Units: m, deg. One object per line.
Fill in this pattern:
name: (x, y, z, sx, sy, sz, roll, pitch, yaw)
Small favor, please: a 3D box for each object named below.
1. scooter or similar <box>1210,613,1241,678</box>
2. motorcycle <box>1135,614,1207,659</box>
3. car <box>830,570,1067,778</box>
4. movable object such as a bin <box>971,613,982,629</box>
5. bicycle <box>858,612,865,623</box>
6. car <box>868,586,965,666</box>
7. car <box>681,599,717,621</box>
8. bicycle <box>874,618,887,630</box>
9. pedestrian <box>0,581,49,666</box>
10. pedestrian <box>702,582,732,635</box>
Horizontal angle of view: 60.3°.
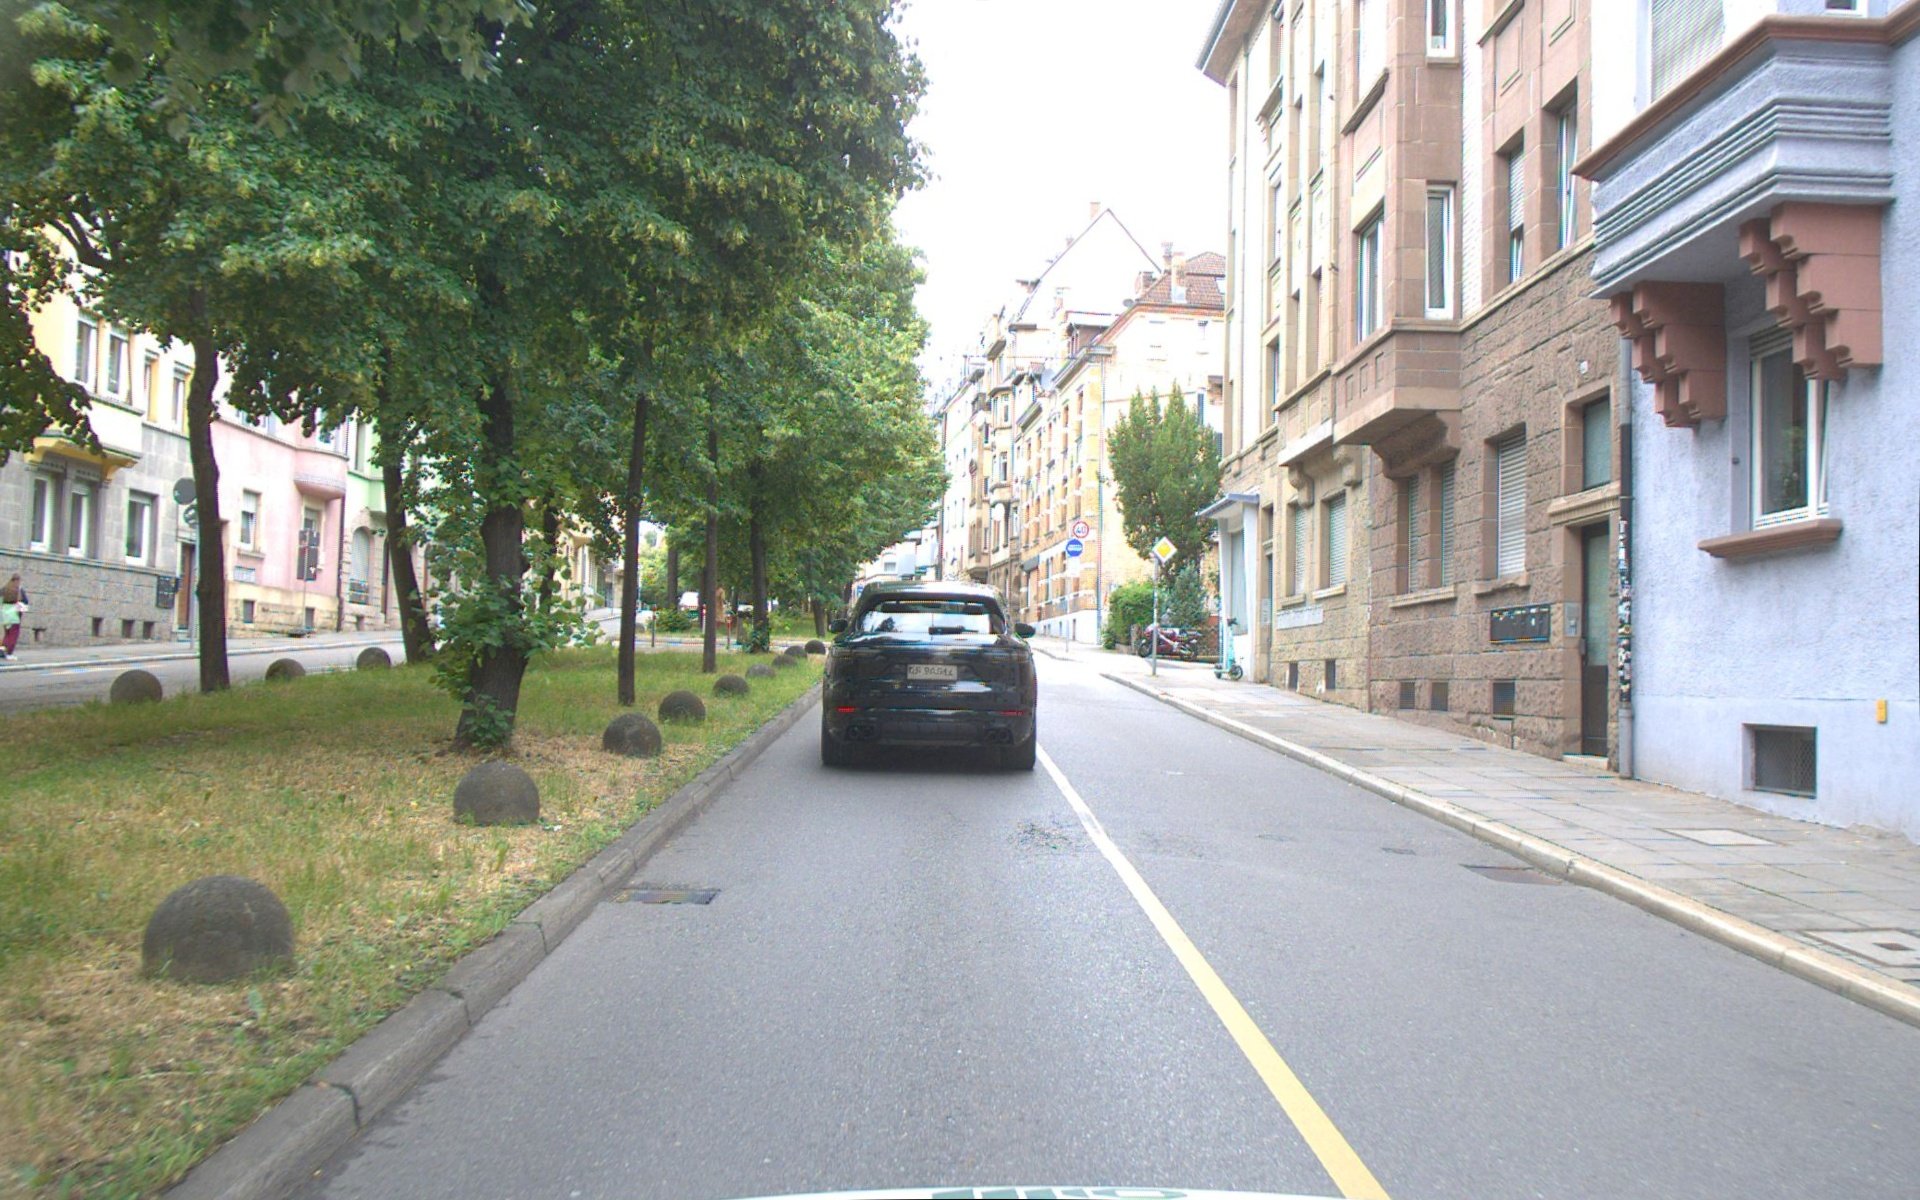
scooter or similar: (5.391, 0.912, 33.622, 0.401, 1.231, 1.145, -1, 2, -2)
motorcycle: (6.635, 1.155, 52.010, 2.016, 1.290, 1.009, 3, -1, -6)
car: (-0.214, 0.613, 16.023, 1.954, 1.694, 3.997, 2, 0, -4)
movable object such as a bin: (1.033, 1.303, 102.782, 0.583, 0.920, 0.562, 2, -1, -7)
bicycle: (-10.308, 1.811, 173.168, 0.438, 1.055, 2.242, 1, -3, -10)
car: (-0.941, 0.542, 33.772, 1.729, 1.491, 3.588, 2, -2, -5)
car: (-17.140, 0.645, 108.818, 1.674, 1.406, 4.667, 0, 1, -1)
bicycle: (-7.804, 2.355, 162.221, 0.863, 1.149, 2.972, 2, -2, -9)
pedestrian: (-16.846, 0.408, 29.580, 0.684, 1.486, 0.704, 2, 0, -1)
pedestrian: (-8.302, 0.306, 56.554, 0.816, 1.742, 1.122, -2, -2, -2)
